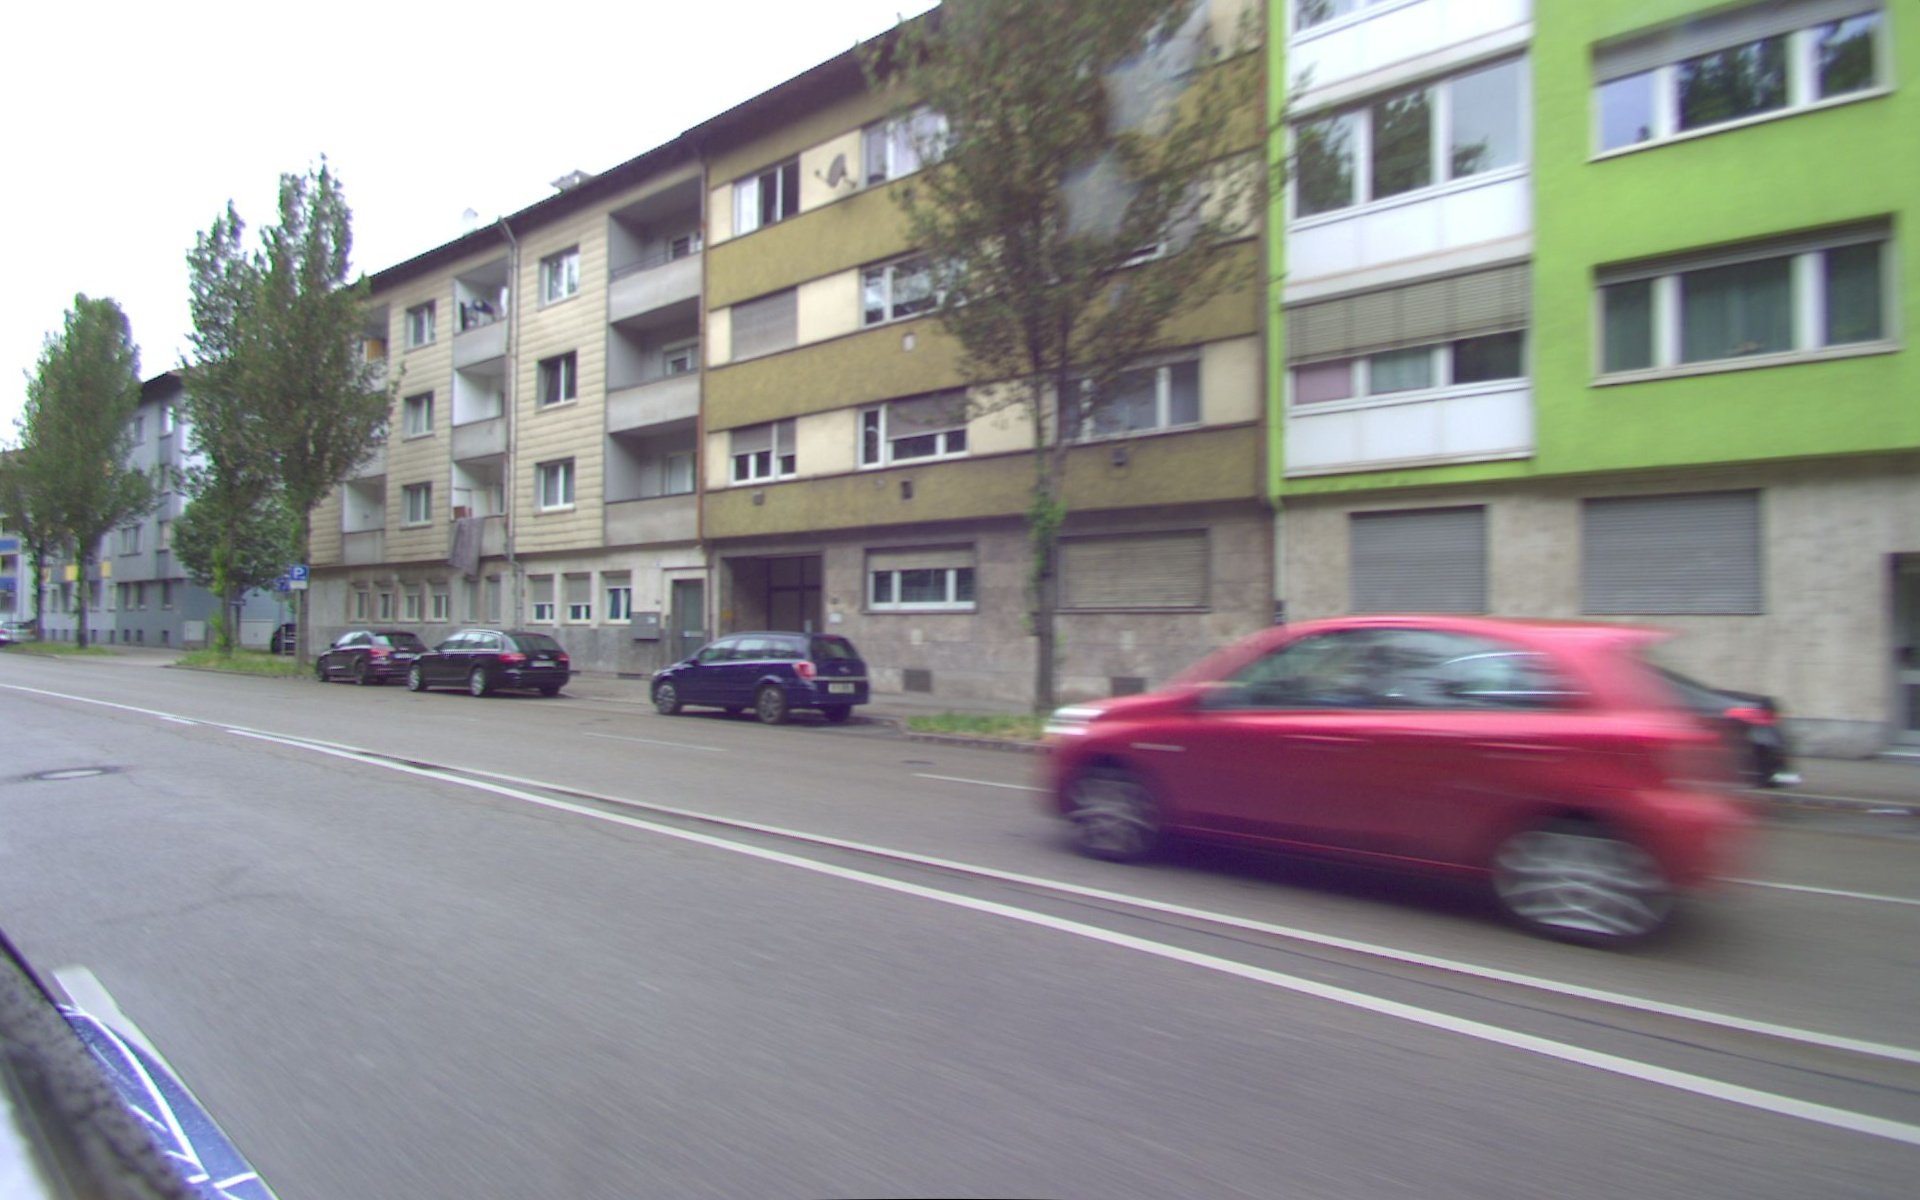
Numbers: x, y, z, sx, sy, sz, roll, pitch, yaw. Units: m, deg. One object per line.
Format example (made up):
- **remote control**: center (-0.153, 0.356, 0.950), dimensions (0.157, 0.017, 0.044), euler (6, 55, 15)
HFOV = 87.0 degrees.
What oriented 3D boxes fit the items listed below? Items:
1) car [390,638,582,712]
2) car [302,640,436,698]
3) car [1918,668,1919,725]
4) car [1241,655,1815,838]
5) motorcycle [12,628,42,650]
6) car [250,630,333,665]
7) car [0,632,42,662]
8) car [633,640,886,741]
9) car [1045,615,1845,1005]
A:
- **car**: center (-10.721, 1.630, 22.758), dimensions (4.780, 1.500, 1.801), euler (-1, -5, 36)
- **car**: center (-15.563, 1.777, 26.580), dimensions (3.982, 1.397, 1.610), euler (-1, -4, 37)
- **car**: center (9.547, 1.201, 7.046), dimensions (3.995, 1.386, 1.663), euler (-1, -5, 39)
- **car**: center (5.395, 1.287, 10.135), dimensions (4.671, 1.383, 1.801), euler (-1, -5, 37)
- **motorcycle**: center (-62.906, 2.625, 68.253), dimensions (2.223, 1.424, 0.672), euler (-1, 0, 24)
- **car**: center (-30.814, 2.181, 46.773), dimensions (1.686, 1.505, 4.008), euler (3, -3, -10)
- **car**: center (-47.577, 2.326, 50.373), dimensions (4.193, 1.464, 1.710), euler (-1, -3, 33)
- **car**: center (-3.523, 1.478, 17.368), dimensions (4.507, 1.500, 1.702), euler (-2, -5, 38)
- **car**: center (2.476, 0.873, 5.718), dimensions (3.676, 1.489, 1.690), euler (-1, -3, 39)
